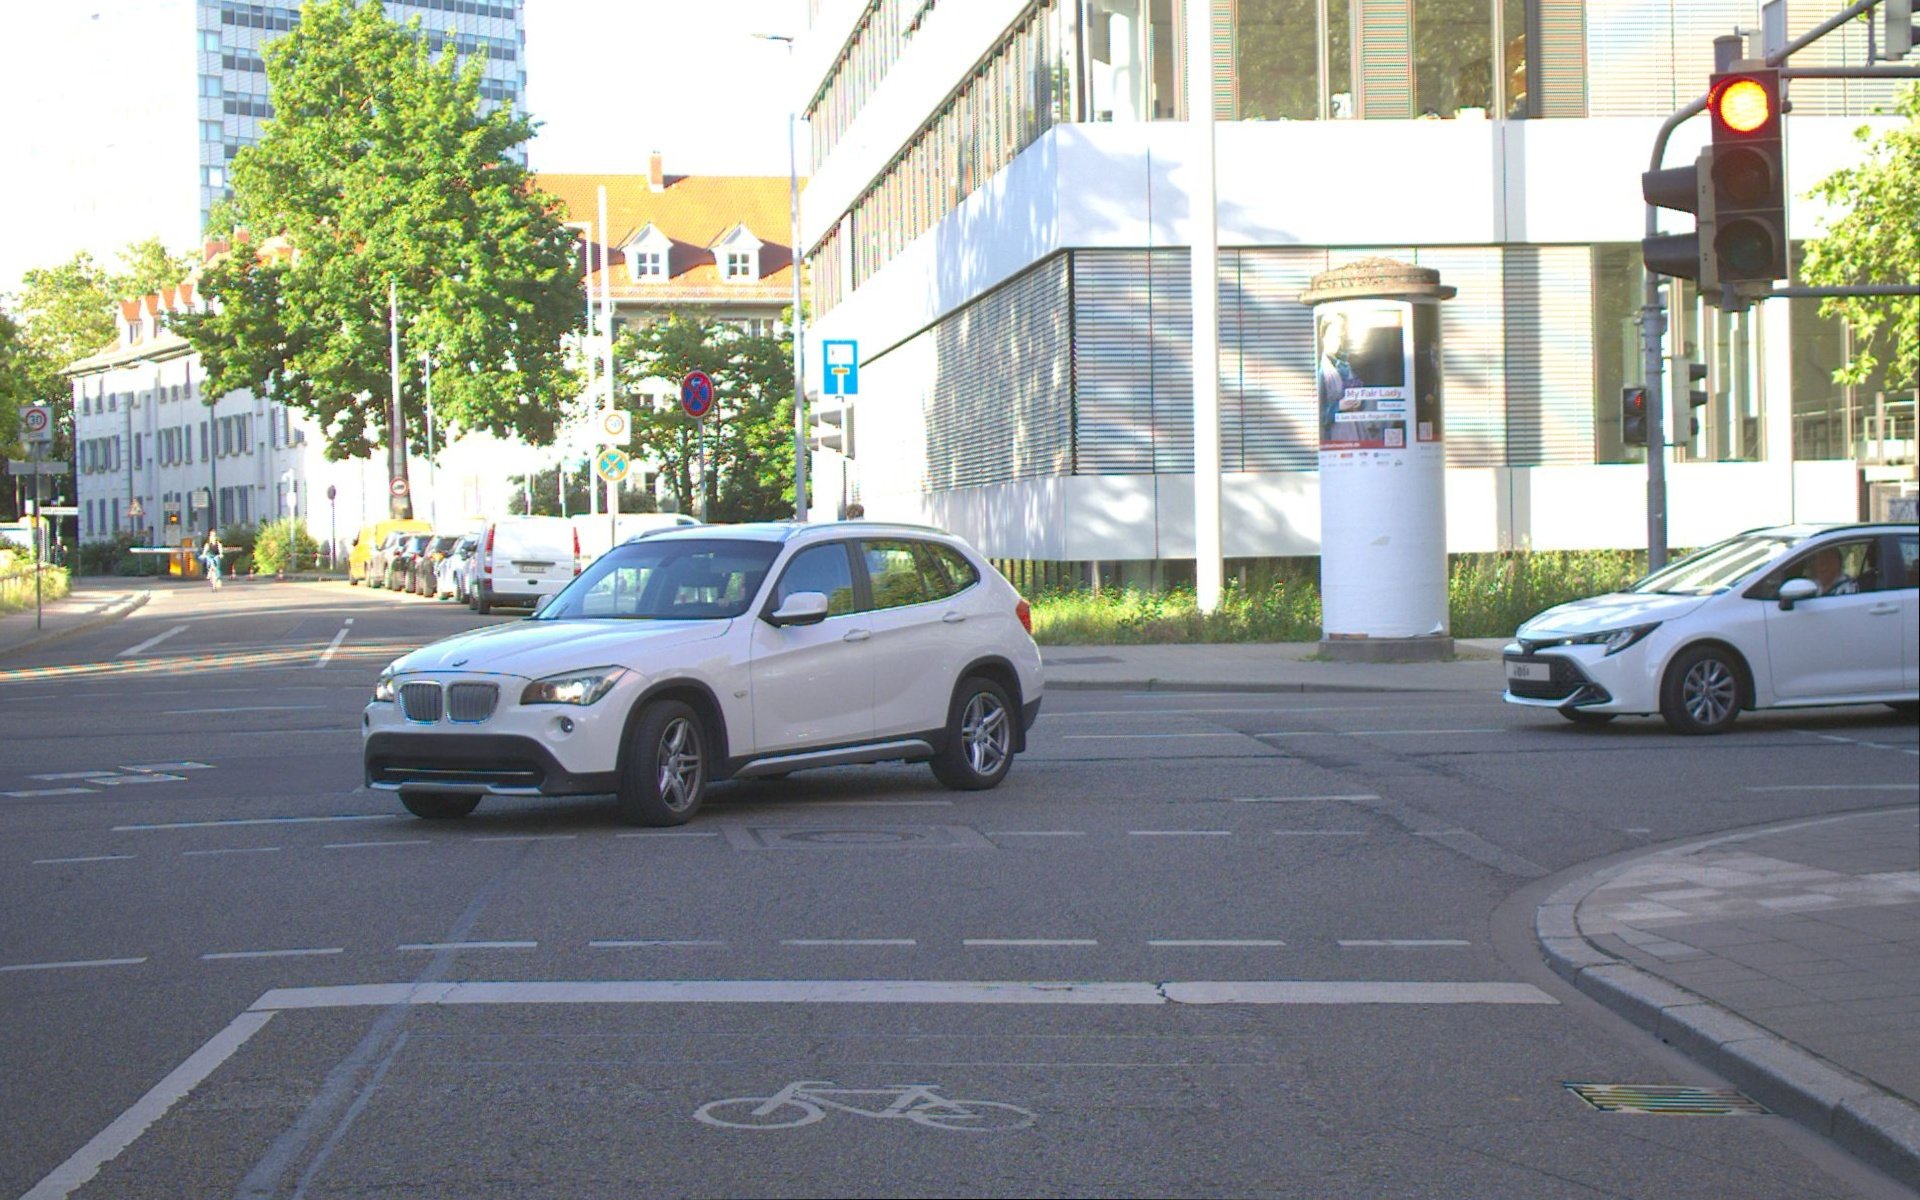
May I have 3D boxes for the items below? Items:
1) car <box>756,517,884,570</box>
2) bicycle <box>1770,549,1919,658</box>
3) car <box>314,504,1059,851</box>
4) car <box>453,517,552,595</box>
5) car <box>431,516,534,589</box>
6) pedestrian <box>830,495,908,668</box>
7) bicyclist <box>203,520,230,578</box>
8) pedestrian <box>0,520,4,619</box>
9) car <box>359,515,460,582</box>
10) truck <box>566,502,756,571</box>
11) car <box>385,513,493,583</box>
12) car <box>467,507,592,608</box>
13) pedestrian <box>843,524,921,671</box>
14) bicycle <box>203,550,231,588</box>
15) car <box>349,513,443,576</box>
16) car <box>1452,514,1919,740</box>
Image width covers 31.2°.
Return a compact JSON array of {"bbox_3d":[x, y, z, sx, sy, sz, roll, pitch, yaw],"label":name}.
[{"bbox_3d":[-4.243,-1.719,104.250,3.554,1.541,1.559,-1,1,-19],"label":"car"},{"bbox_3d":[9.314,0.022,36.048,0.507,1.045,1.687,-4,5,-35],"label":"bicycle"},{"bbox_3d":[-1.359,0.323,18.848,1.689,1.577,4.266,0,3,36],"label":"car"},{"bbox_3d":[-9.741,-0.960,72.955,1.888,1.550,4.417,-1,2,-10],"label":"car"},{"bbox_3d":[-10.914,-1.106,78.325,1.888,1.550,4.417,-1,2,-13],"label":"car"},{"bbox_3d":[-1.001,-0.207,37.818,0.560,1.844,0.677,-3,2,16],"label":"pedestrian"},{"bbox_3d":[-19.769,-1.351,91.433,0.615,1.527,0.903,-2,1,-9],"label":"bicyclist"},{"bbox_3d":[-16.984,-0.516,59.534,0.703,1.717,0.955,-2,1,-20],"label":"pedestrian"},{"bbox_3d":[-14.460,-1.381,90.088,1.888,1.650,4.417,-1,2,-19],"label":"car"},{"bbox_3d":[-8.958,-1.903,103.062,5.336,2.007,2.001,-1,1,-19],"label":"truck"},{"bbox_3d":[-12.996,-1.322,85.573,1.888,1.650,4.417,-1,2,-19],"label":"car"},{"bbox_3d":[-8.132,-0.833,64.688,2.084,1.789,4.417,-1,2,-10],"label":"car"},{"bbox_3d":[-0.844,-0.035,37.090,0.559,1.535,0.677,-5,2,-18],"label":"pedestrian"},{"bbox_3d":[-19.758,-0.822,91.431,0.615,0.966,1.842,-2,1,-9],"label":"bicycle"},{"bbox_3d":[-15.691,-1.563,95.508,1.888,1.650,4.417,-1,2,-19],"label":"car"},{"bbox_3d":[6.028,0.136,24.768,4.529,1.471,1.893,-1,1,-18],"label":"car"}]
